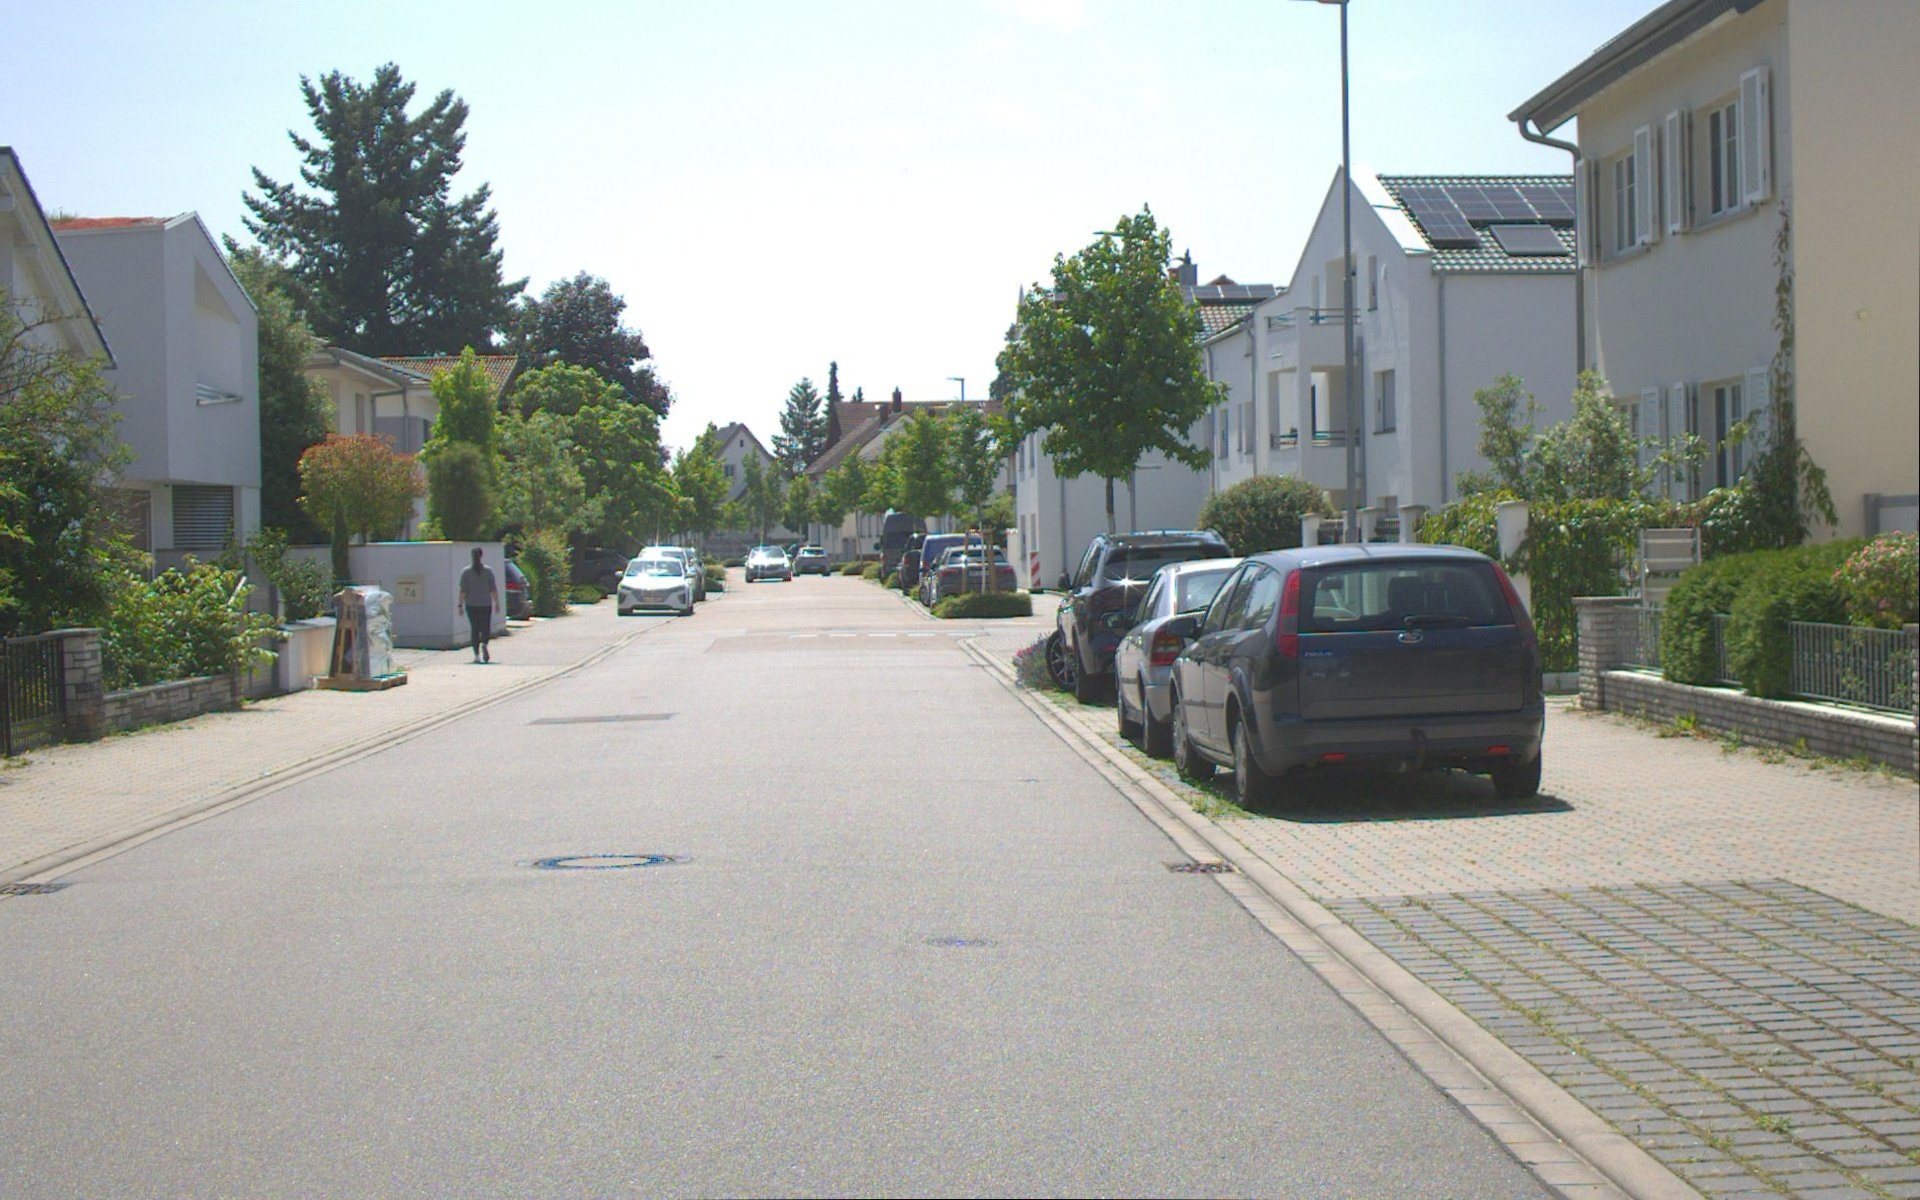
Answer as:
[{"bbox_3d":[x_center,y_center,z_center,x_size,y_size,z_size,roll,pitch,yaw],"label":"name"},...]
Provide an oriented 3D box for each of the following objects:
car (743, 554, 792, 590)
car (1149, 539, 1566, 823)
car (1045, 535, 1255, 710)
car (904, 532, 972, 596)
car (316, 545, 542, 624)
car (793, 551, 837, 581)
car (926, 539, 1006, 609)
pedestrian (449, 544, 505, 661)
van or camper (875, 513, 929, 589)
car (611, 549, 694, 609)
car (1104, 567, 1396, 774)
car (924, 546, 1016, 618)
[{"bbox_3d":[-8.280,-1.219,148.053,1.853,1.473,4.700,-1,1,0],"label":"car"},{"bbox_3d":[2.306,0.412,21.068,1.741,1.528,4.449,-1,1,-4],"label":"car"},{"bbox_3d":[1.912,0.178,35.779,1.814,1.650,4.565,-1,1,-1],"label":"car"},{"bbox_3d":[-0.730,-1.163,110.692,1.993,1.940,5.215,-2,1,-2],"label":"car"},{"bbox_3d":[-11.259,-0.340,73.128,4.429,1.468,1.850,3,1,2],"label":"car"},{"bbox_3d":[-7.073,-1.658,168.470,1.993,1.425,4.000,-1,1,0],"label":"car"},{"bbox_3d":[0.142,-0.735,95.976,2.099,1.875,4.843,-1,1,-1],"label":"car"},{"bbox_3d":[-7.308,0.030,52.080,0.714,1.741,0.961,-1,1,-2],"label":"pedestrian"},{"bbox_3d":[-2.296,-1.920,135.216,1.993,2.931,4.000,-1,1,-2],"label":"van or camper"},{"bbox_3d":[-7.803,-0.554,87.519,1.852,1.483,4.386,-1,1,-2],"label":"car"},{"bbox_3d":[2.158,0.483,26.594,1.814,1.415,4.093,-1,1,-1],"label":"car"},{"bbox_3d":[0.199,-0.425,79.058,1.773,1.590,4.280,-1,1,-4],"label":"car"}]
